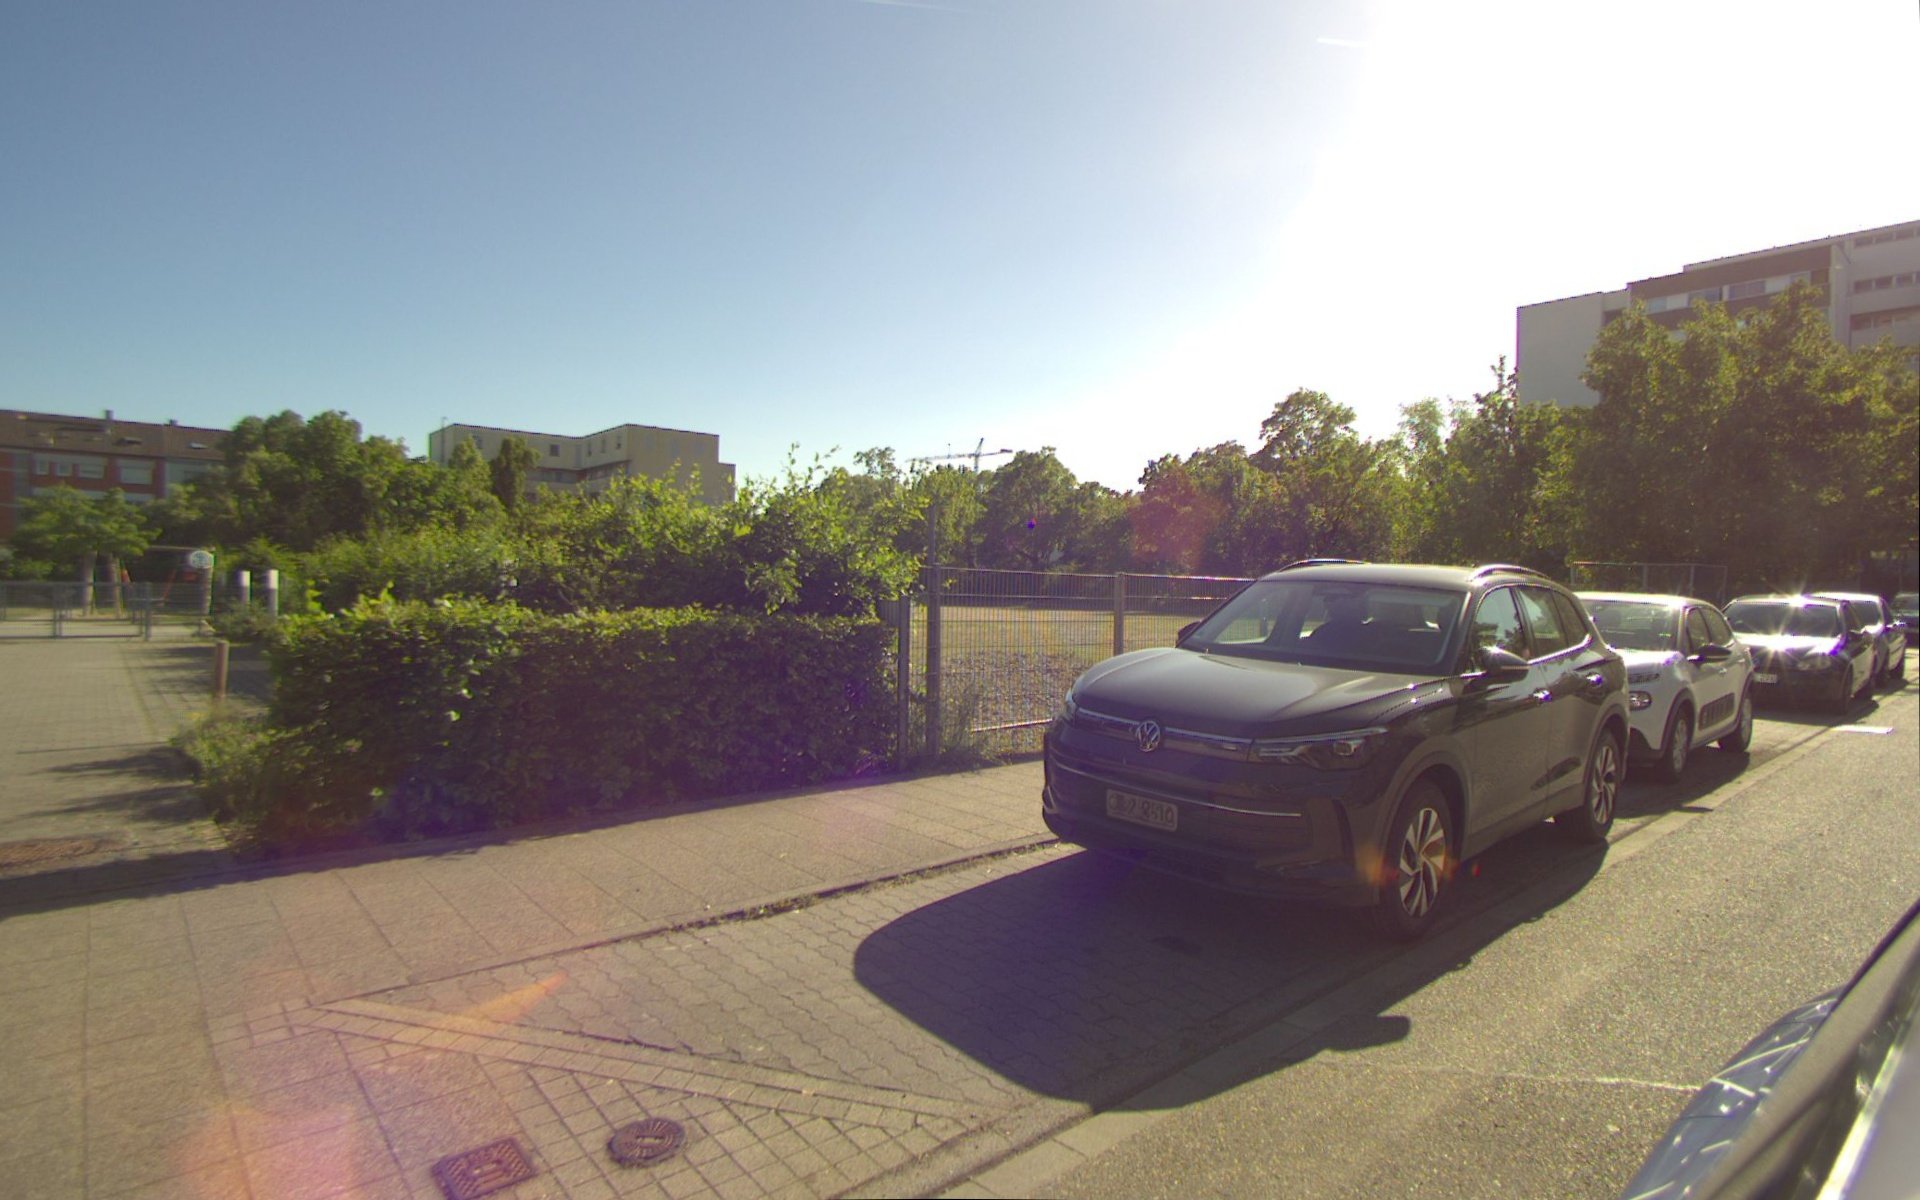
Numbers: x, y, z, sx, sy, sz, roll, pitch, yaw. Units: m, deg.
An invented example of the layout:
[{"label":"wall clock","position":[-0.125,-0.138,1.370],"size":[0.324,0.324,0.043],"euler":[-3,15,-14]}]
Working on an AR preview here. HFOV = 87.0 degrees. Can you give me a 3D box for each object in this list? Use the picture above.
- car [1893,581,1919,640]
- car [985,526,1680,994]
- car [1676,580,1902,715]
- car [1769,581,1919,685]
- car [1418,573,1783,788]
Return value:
[{"label":"car","position":[27.128,0.283,27.915],"size":[3.640,1.484,1.644],"euler":[-2,5,-42]},{"label":"car","position":[2.396,0.526,5.804],"size":[4.411,1.667,1.822],"euler":[0,4,-42]},{"label":"car","position":[11.676,0.534,14.180],"size":[3.777,1.484,1.822],"euler":[-2,5,-42]},{"label":"car","position":[15.551,0.486,17.621],"size":[3.640,1.484,1.644],"euler":[-2,5,-42]},{"label":"car","position":[6.012,0.564,9.343],"size":[3.776,1.484,1.822],"euler":[0,4,-42]}]
